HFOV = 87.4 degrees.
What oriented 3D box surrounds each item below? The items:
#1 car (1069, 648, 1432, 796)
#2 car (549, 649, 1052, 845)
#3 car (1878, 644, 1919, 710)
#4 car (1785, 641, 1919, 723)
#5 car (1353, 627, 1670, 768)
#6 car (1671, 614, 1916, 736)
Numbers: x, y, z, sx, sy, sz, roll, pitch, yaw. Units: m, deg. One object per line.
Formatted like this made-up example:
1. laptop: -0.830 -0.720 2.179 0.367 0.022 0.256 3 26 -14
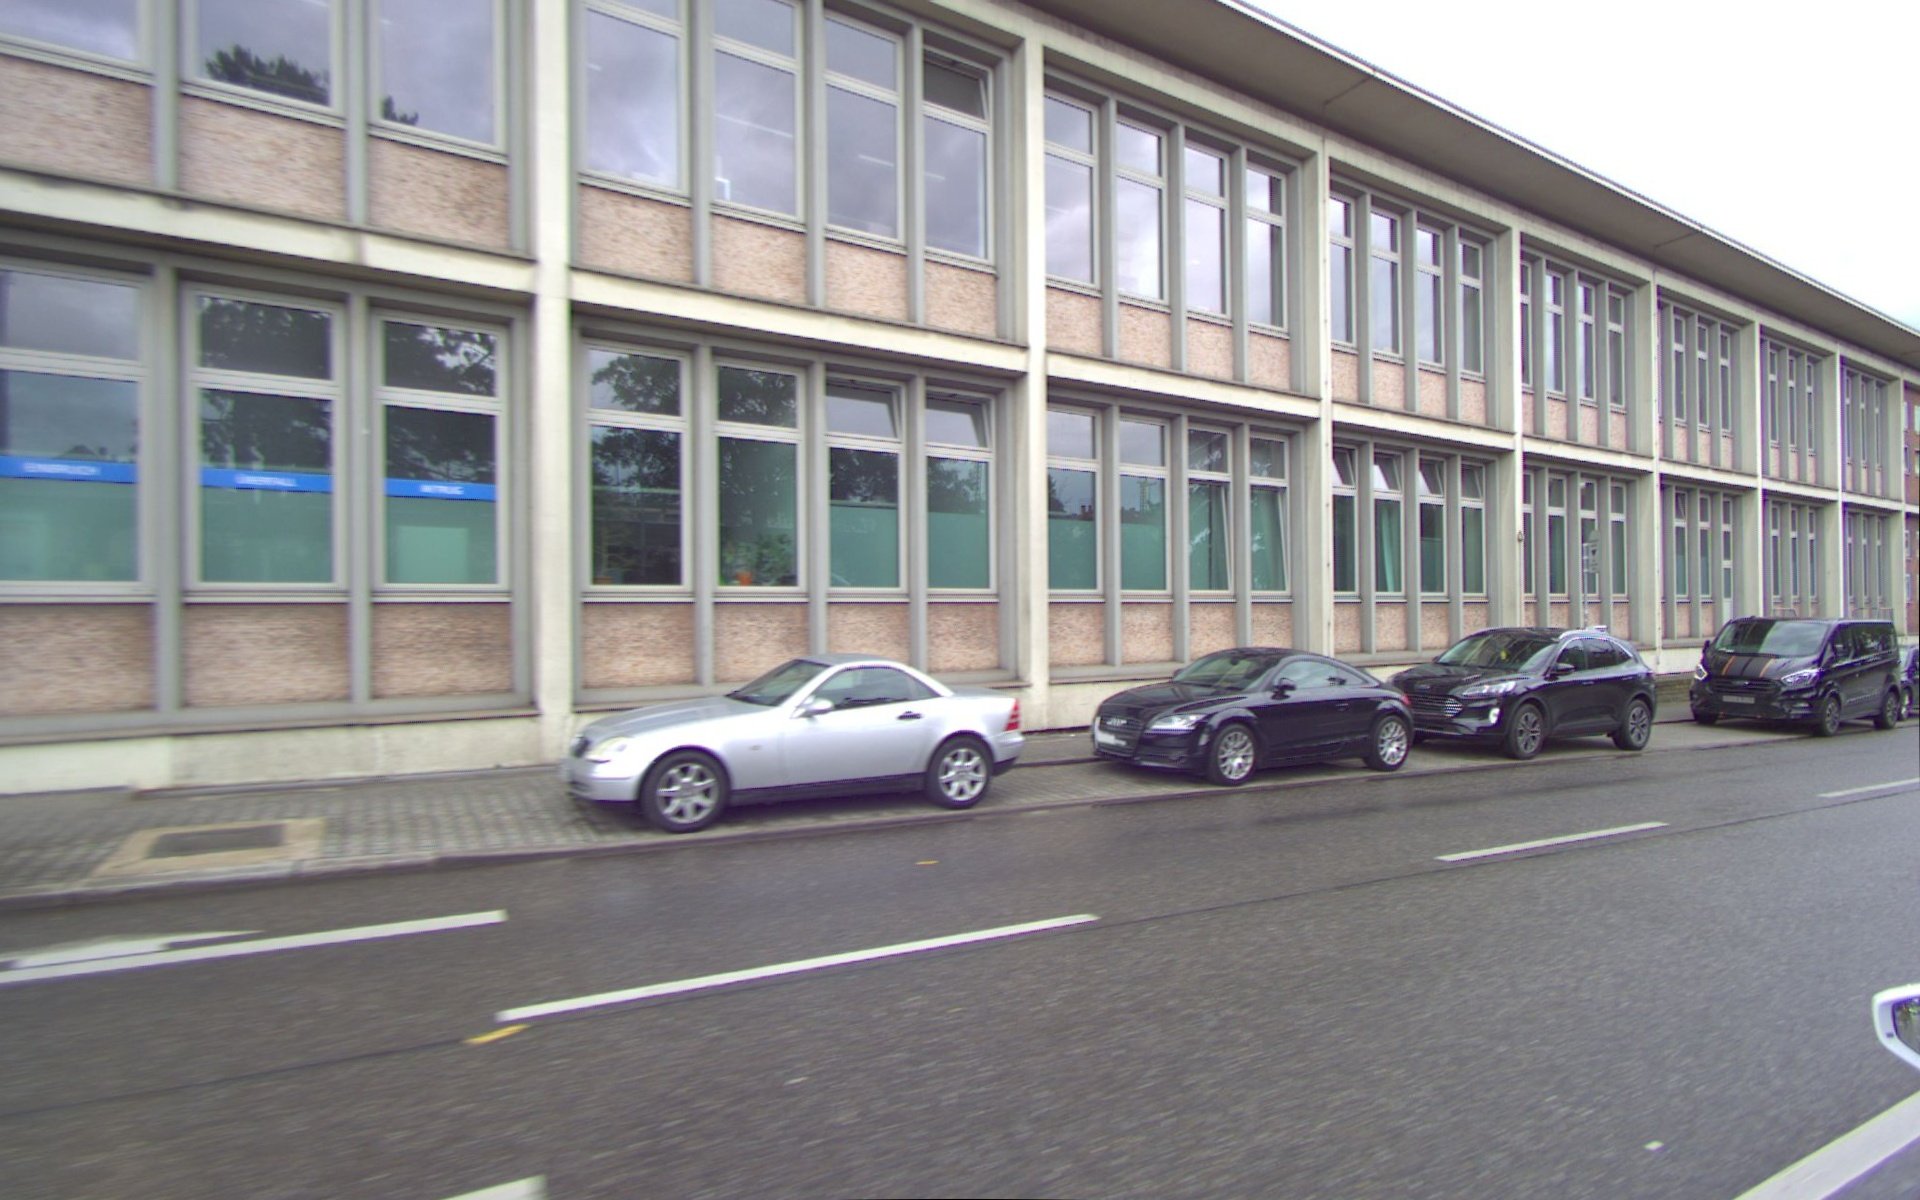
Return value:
1. car: 3.323 1.248 11.306 4.059 1.371 1.536 1 -2 -29
2. car: -1.338 1.119 8.801 4.042 1.314 1.684 1 -2 -29
3. car: 23.752 1.814 24.126 3.511 1.503 1.558 1 -2 -31
4. car: 19.795 1.687 21.586 4.262 1.572 1.852 1 -2 -31
5. car: 7.749 1.233 14.006 4.548 1.697 1.789 1 -2 -30
6. car: 15.346 1.284 18.430 4.938 1.969 1.939 1 -2 -31
